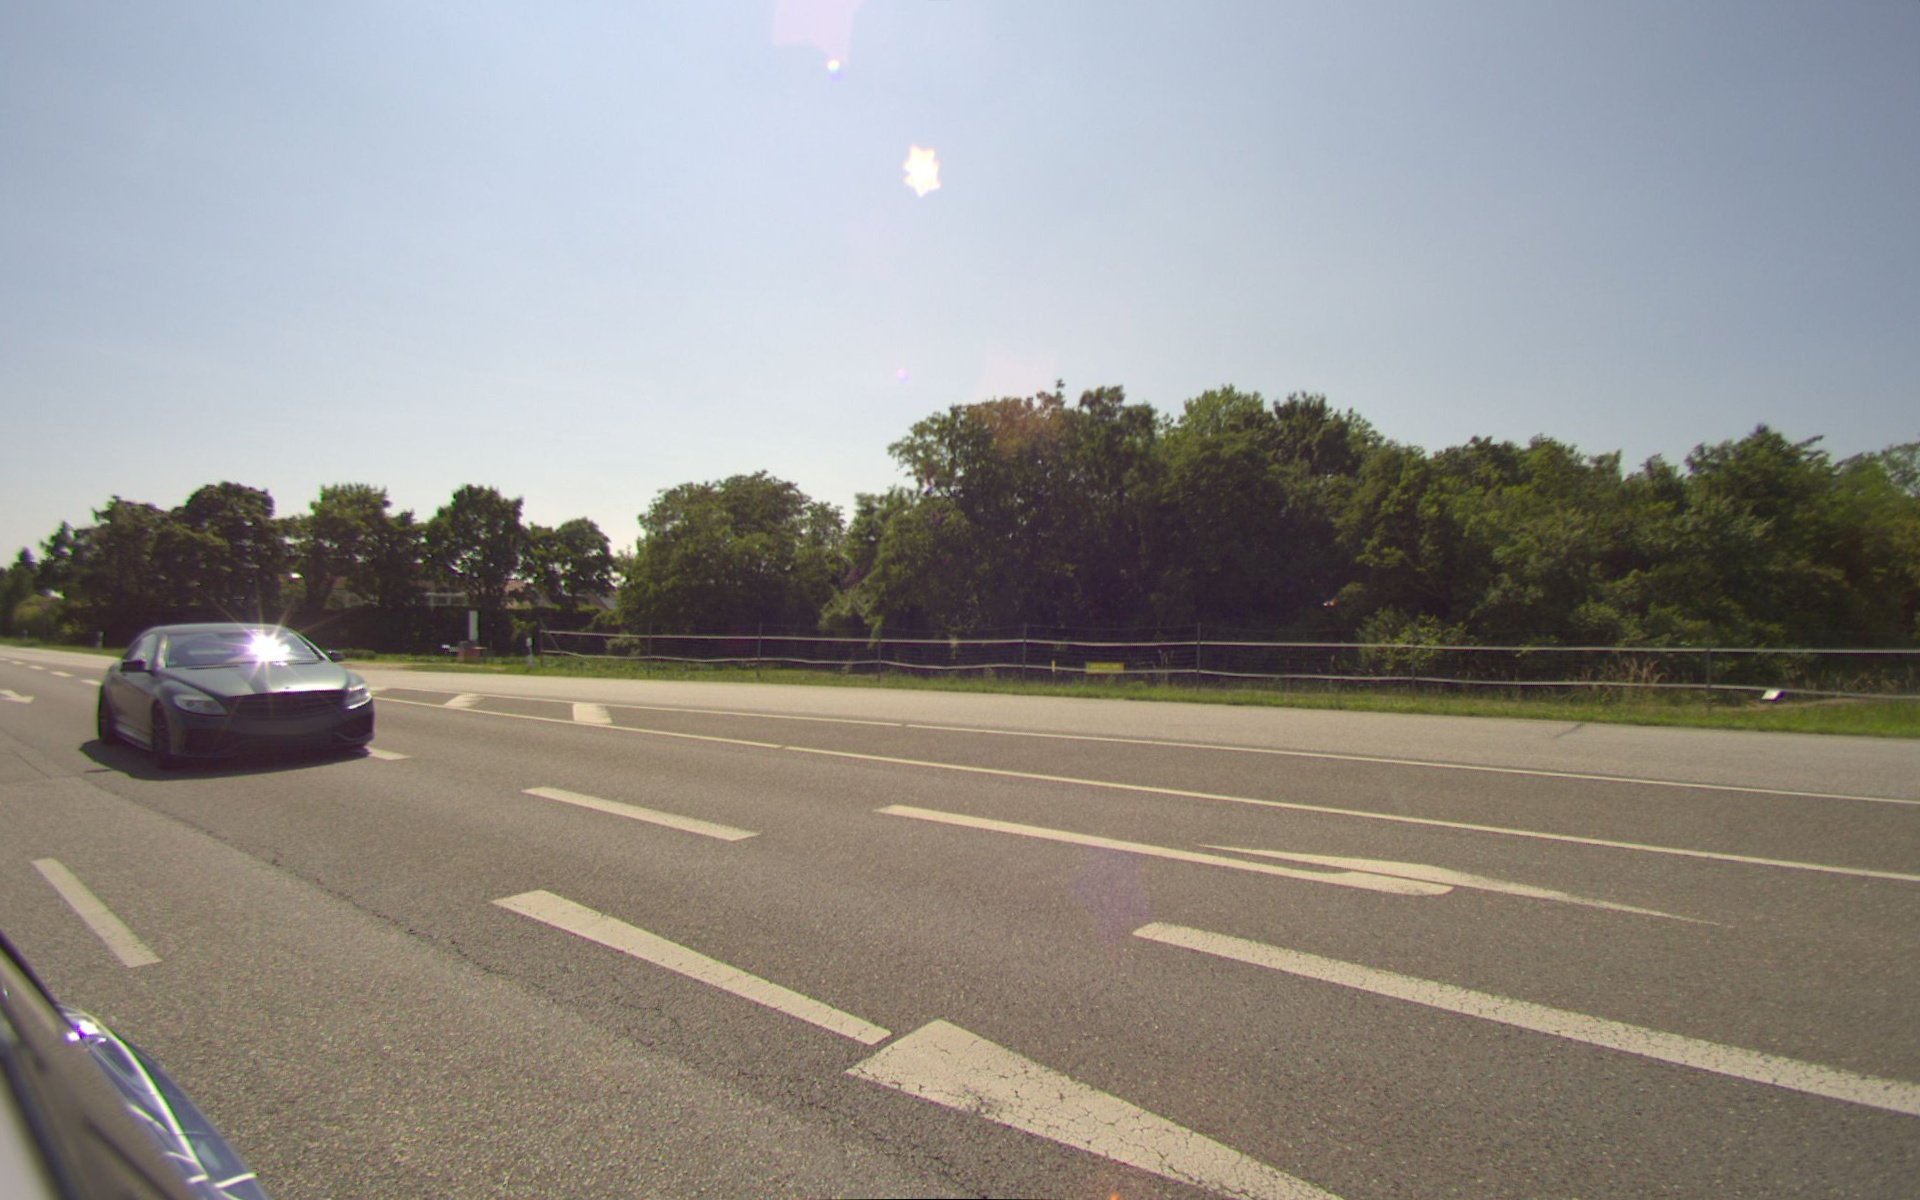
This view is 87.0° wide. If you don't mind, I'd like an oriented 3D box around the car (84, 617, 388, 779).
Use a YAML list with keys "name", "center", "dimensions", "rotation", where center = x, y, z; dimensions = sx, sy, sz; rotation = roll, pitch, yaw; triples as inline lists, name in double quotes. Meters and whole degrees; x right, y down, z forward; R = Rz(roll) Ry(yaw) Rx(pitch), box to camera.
- name: "car"
  center: [-8.473, 0.972, 11.642]
  dimensions: [4.875, 1.461, 1.792]
  rotation: [-2, -1, 41]
